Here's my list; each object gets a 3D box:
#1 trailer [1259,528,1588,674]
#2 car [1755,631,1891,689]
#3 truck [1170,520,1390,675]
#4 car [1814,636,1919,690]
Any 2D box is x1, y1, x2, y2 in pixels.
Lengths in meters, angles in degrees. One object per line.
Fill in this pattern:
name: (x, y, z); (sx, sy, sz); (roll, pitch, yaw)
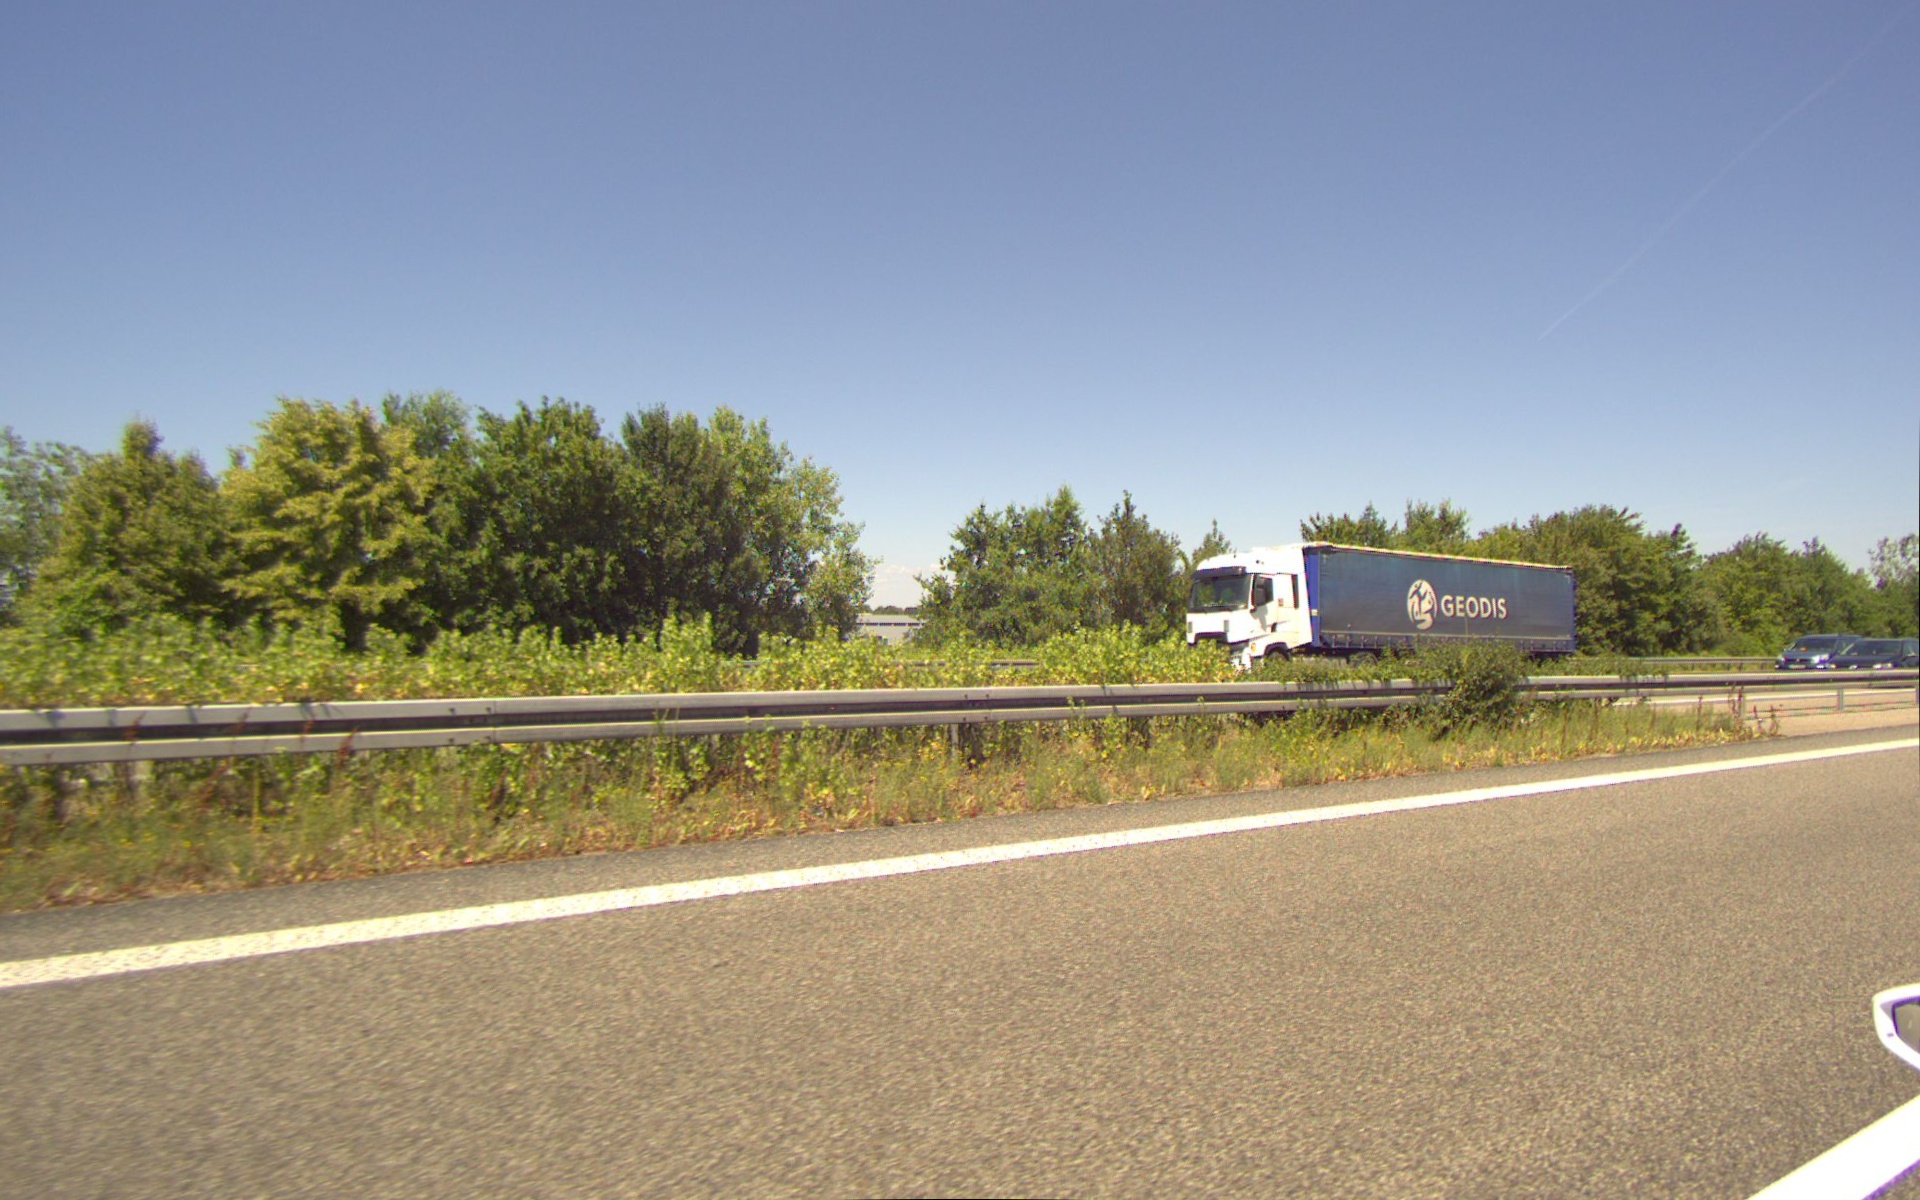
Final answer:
trailer: (15.853, 0.292, 33.641); (13.384, 4.241, 2.906); (2, -3, -31)
car: (33.507, 2.306, 38.997); (5.290, 2.015, 2.219); (2, 0, -28)
truck: (9.561, 0.094, 29.912); (6.122, 4.183, 2.903); (2, -4, -31)
car: (27.987, 1.902, 30.360); (4.670, 1.503, 1.744); (2, -6, -30)
